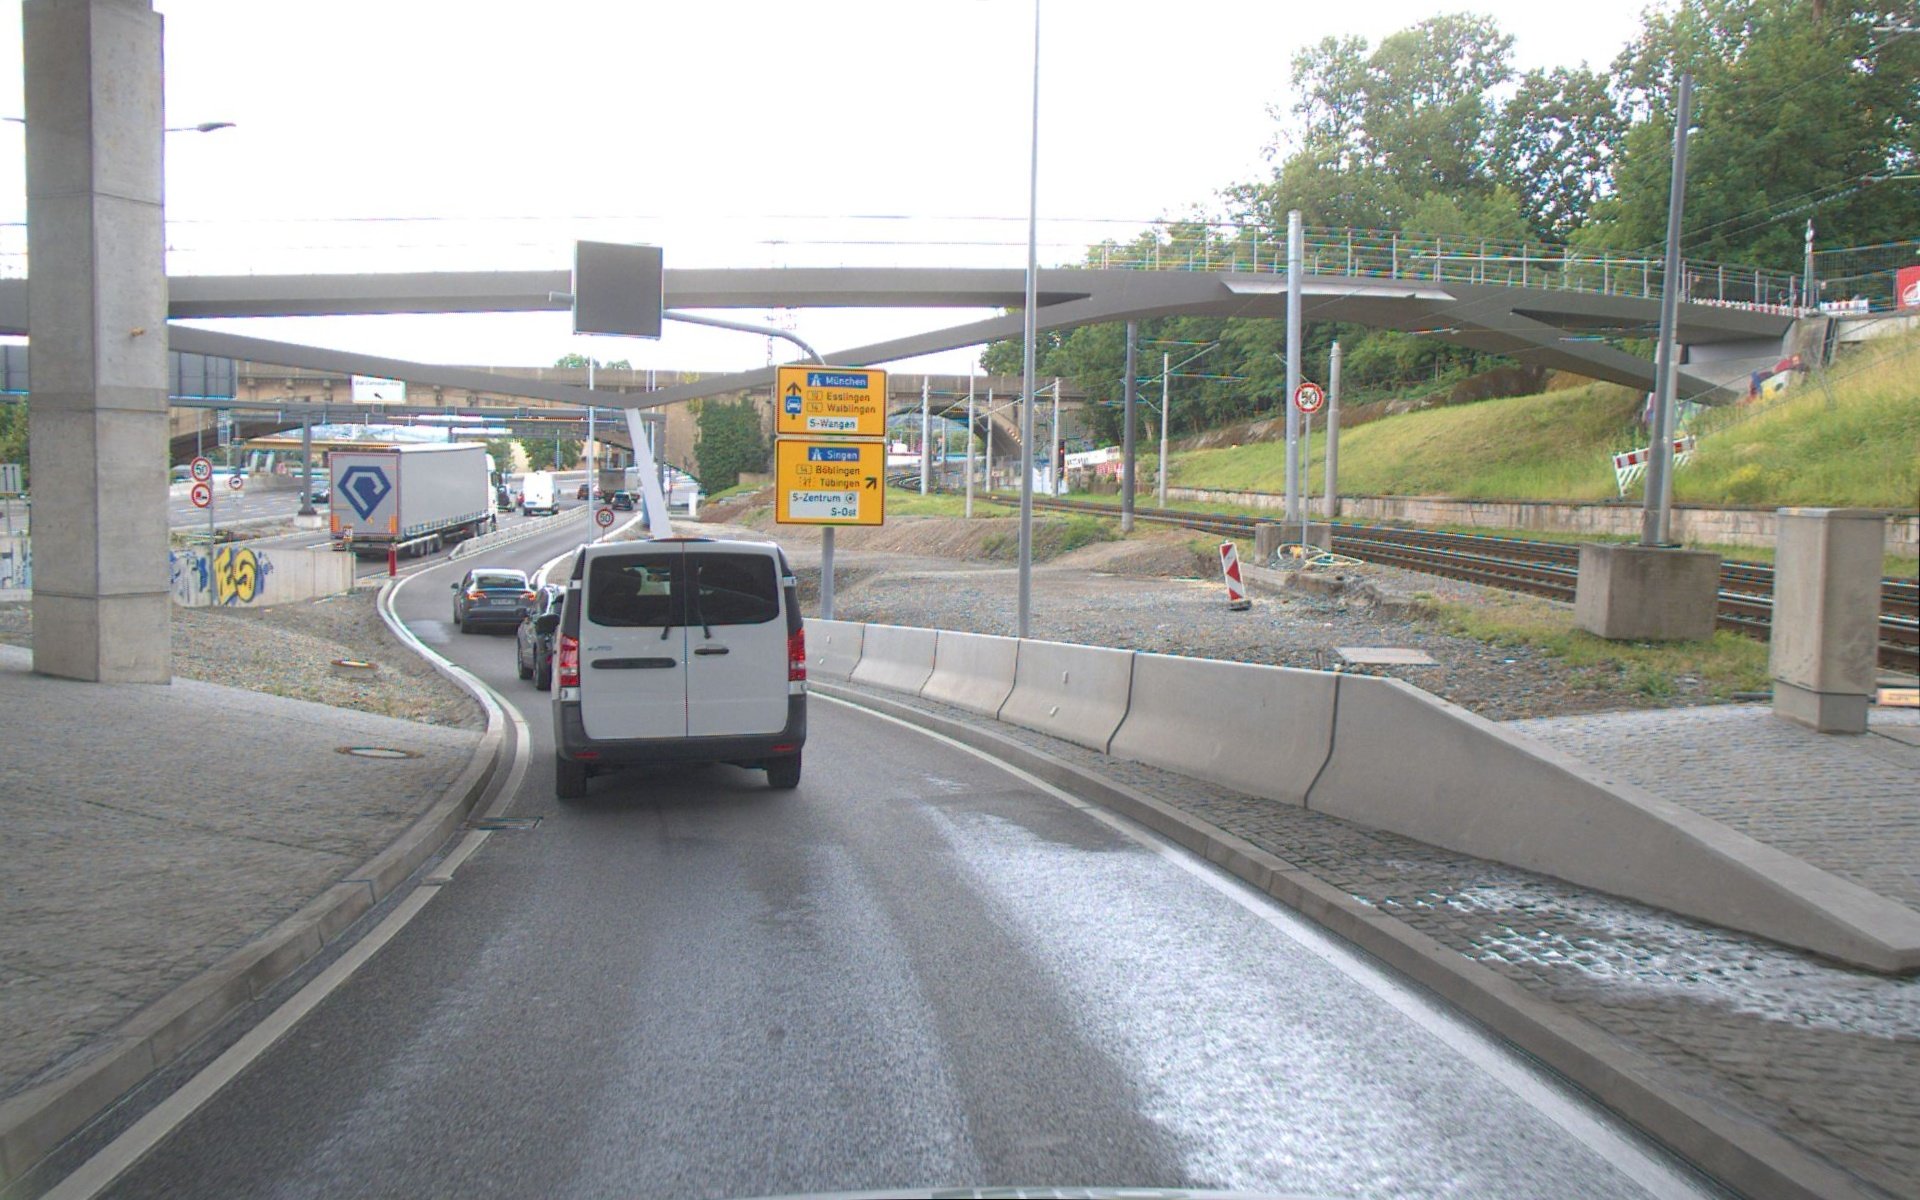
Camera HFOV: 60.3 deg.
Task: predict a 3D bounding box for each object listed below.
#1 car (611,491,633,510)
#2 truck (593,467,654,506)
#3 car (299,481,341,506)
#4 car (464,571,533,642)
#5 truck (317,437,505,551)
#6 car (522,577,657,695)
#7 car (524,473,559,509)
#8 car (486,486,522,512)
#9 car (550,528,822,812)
[{"bbox_3d":[-30.176,-8.890,147.618,1.593,1.612,3.994,2,2,-8],"label":"car"},{"bbox_3d":[-32.794,-11.039,161.308,3.323,3.203,7.263,4,1,9],"label":"truck"},{"bbox_3d":[-44.469,-7.404,114.956,1.673,1.652,3.997,0,3,-5],"label":"car"},{"bbox_3d":[-11.091,0.135,39.727,1.477,1.494,3.385,3,2,-16],"label":"car"},{"bbox_3d":[-21.735,-4.429,66.903,3.252,3.873,16.587,3,4,-5],"label":"truck"},{"bbox_3d":[-6.065,0.525,26.790,1.723,1.653,3.825,1,2,-19],"label":"car"},{"bbox_3d":[-26.496,-6.874,104.810,1.864,2.152,4.473,2,2,-12],"label":"car"},{"bbox_3d":[-31.149,-6.872,113.109,1.613,1.648,3.997,2,3,-5],"label":"car"},{"bbox_3d":[-2.425,0.450,13.821,1.844,1.924,4.737,-1,1,-13],"label":"car"}]
